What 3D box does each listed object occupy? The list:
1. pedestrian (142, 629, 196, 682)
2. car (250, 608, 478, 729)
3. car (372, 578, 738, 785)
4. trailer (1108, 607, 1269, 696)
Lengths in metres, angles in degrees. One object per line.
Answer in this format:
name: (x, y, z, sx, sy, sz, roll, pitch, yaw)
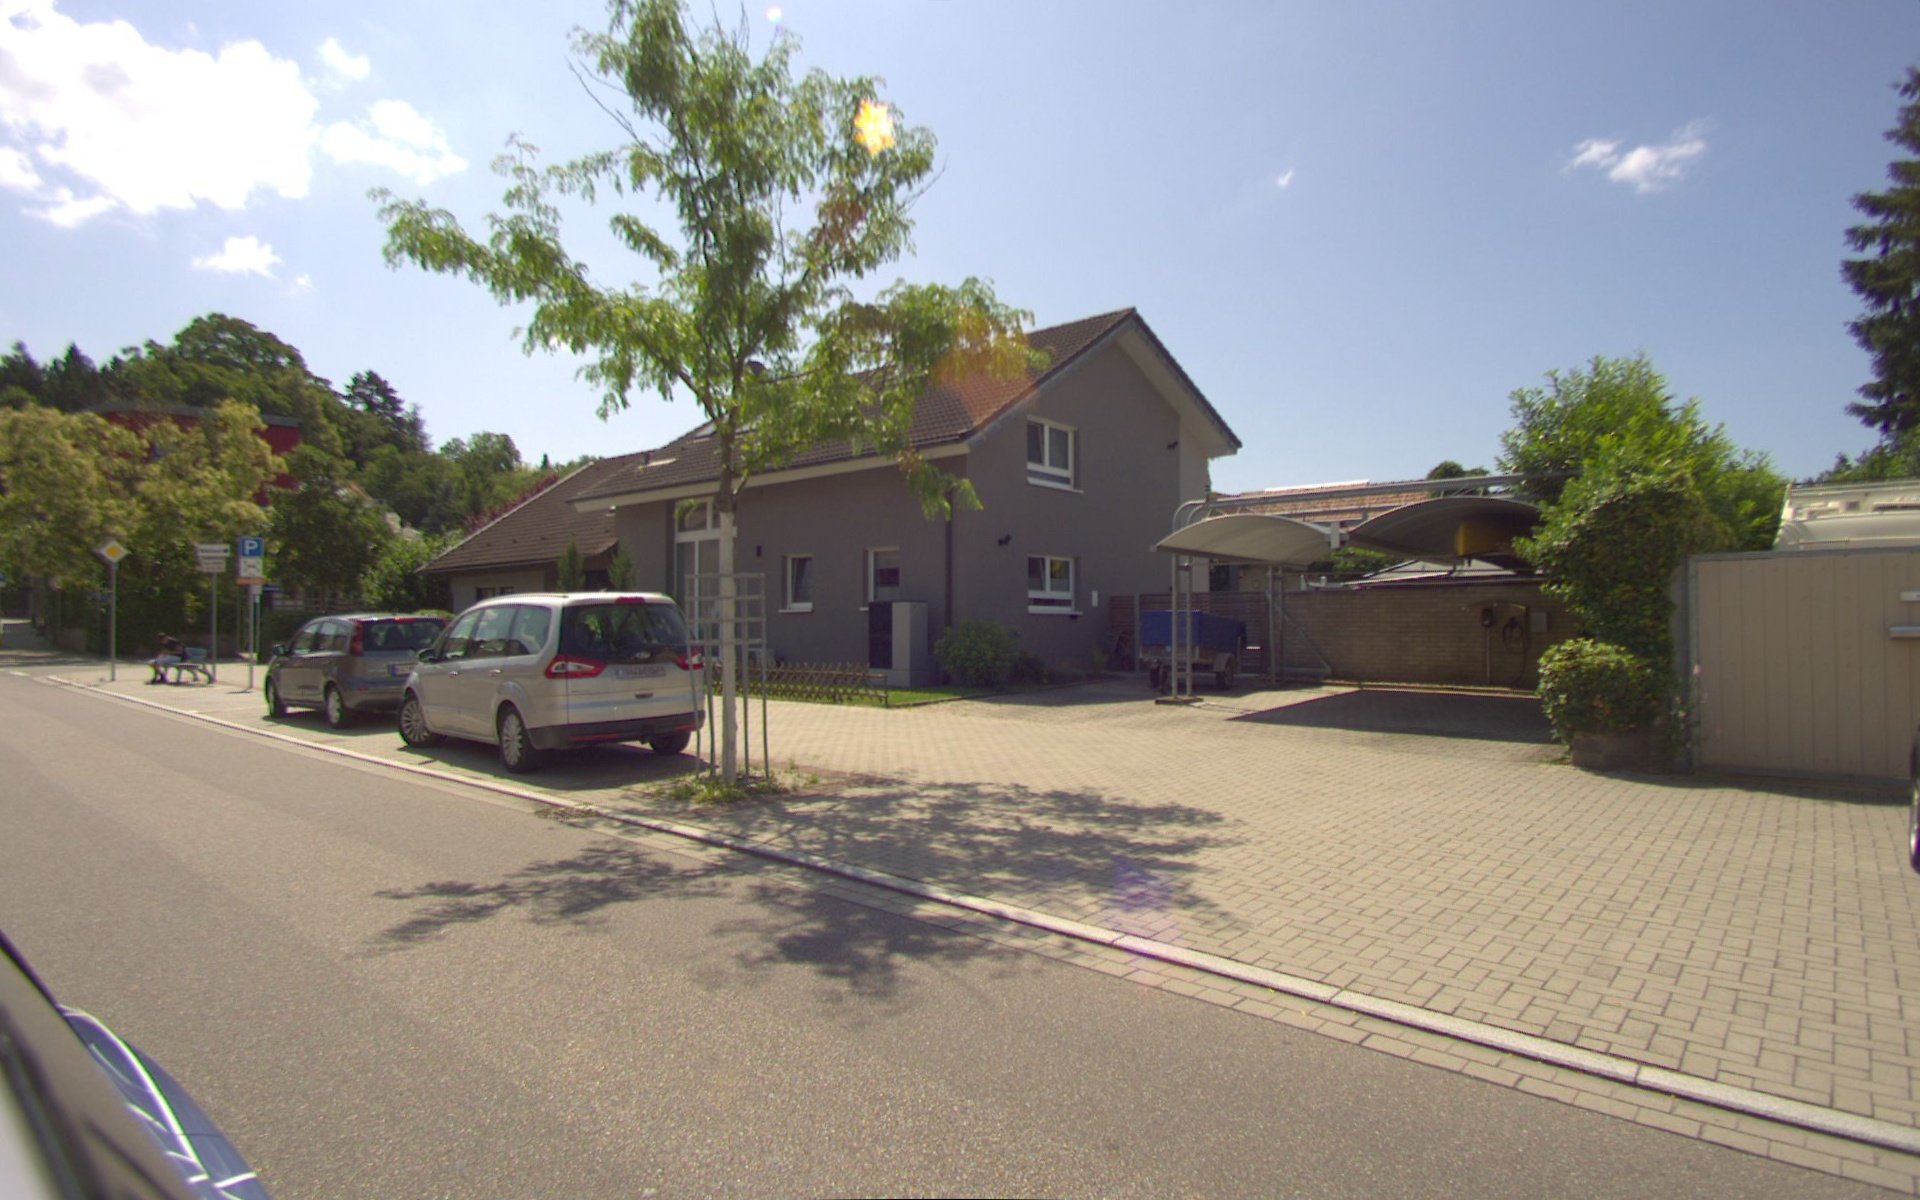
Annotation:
pedestrian: (-18.305, 1.267, 23.423, 0.884, 1.150, 0.806, 0, 0, 37)
car: (-8.887, 0.948, 14.972, 3.906, 1.536, 1.705, -2, -1, 40)
car: (-4.540, 0.762, 10.920, 4.686, 1.761, 1.819, -2, -1, 43)
trailer: (4.197, 0.844, 18.217, 1.582, 1.399, 3.600, 0, 0, 35)
